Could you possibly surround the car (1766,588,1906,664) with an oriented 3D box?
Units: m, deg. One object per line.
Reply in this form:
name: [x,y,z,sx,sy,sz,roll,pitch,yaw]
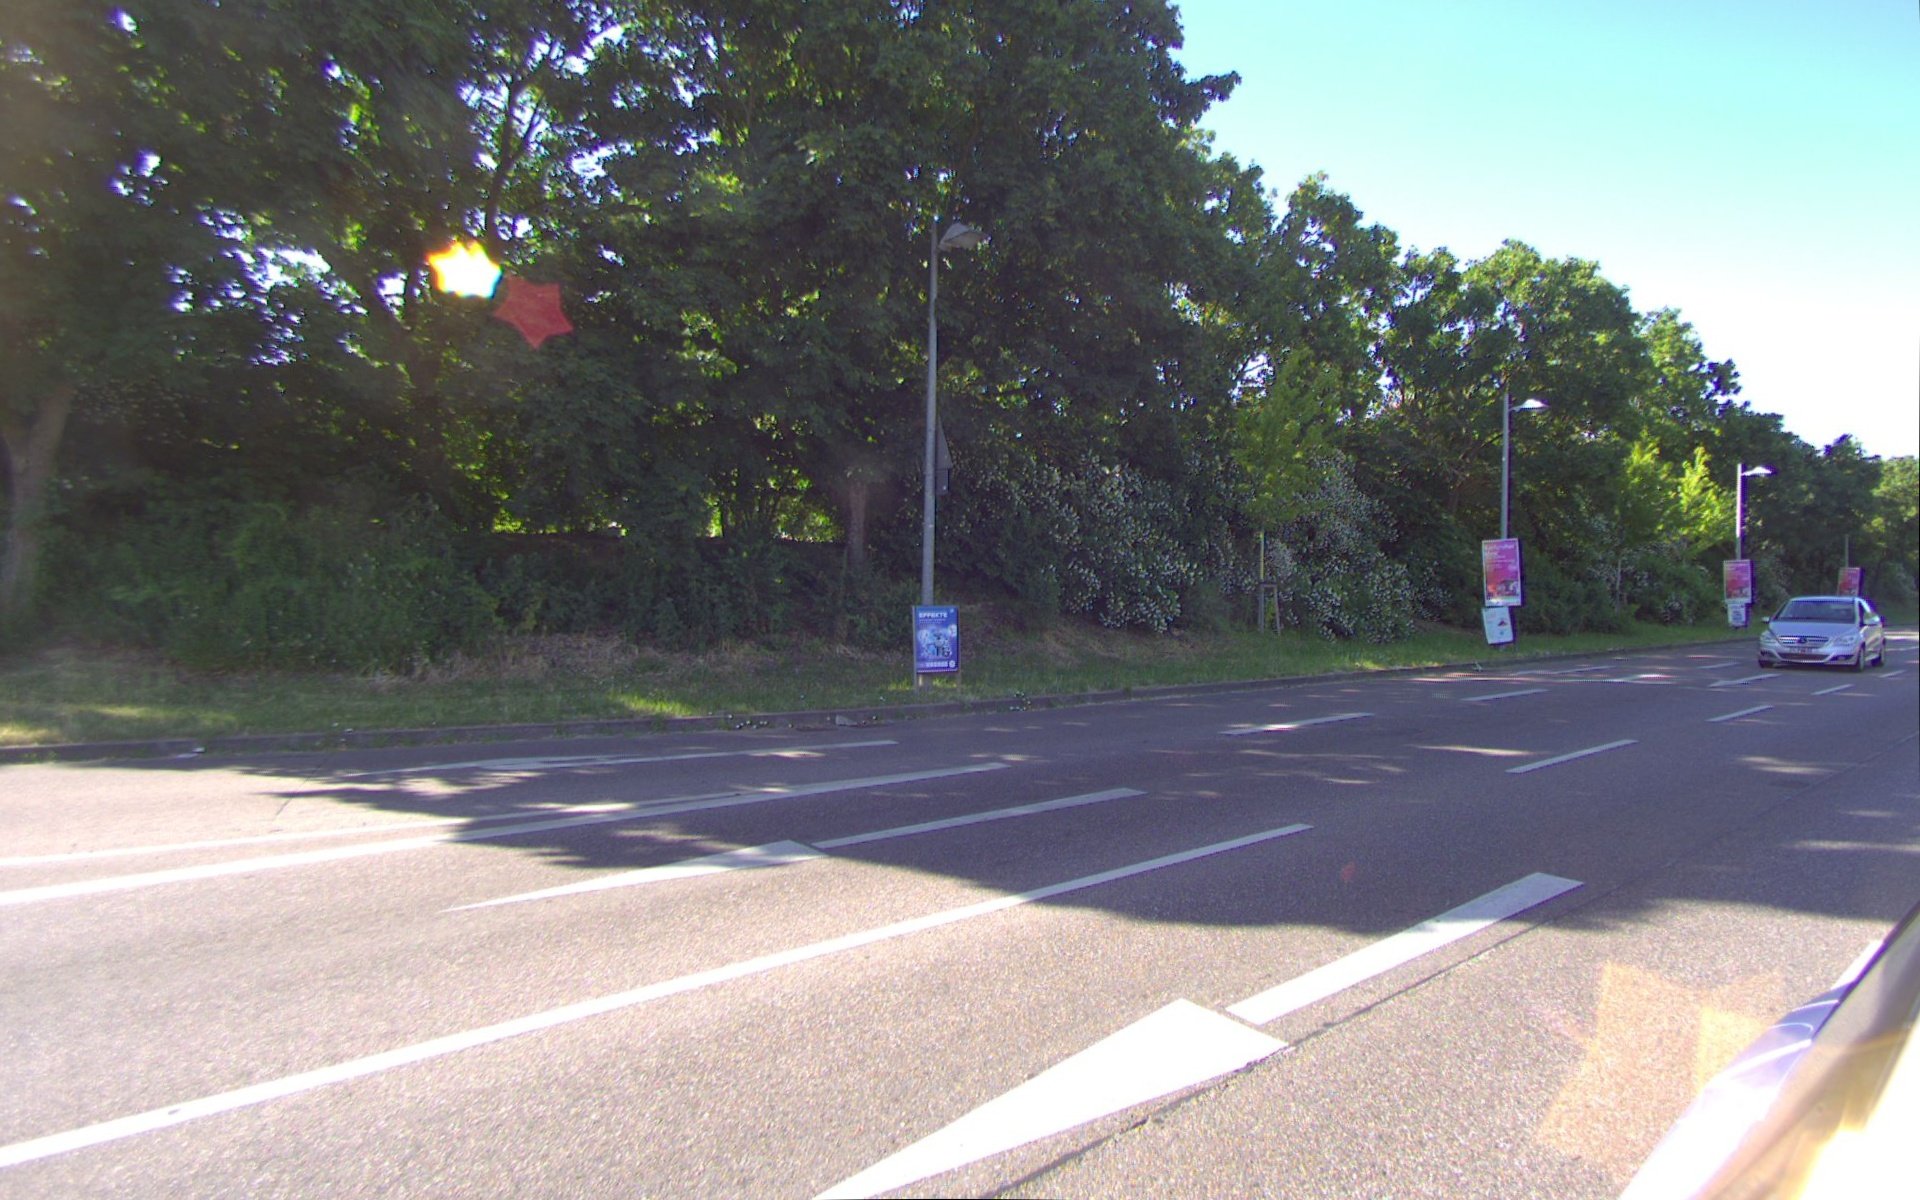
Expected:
car: [19.677,0.521,22.687,3.987,1.559,1.672,0,0,-39]
